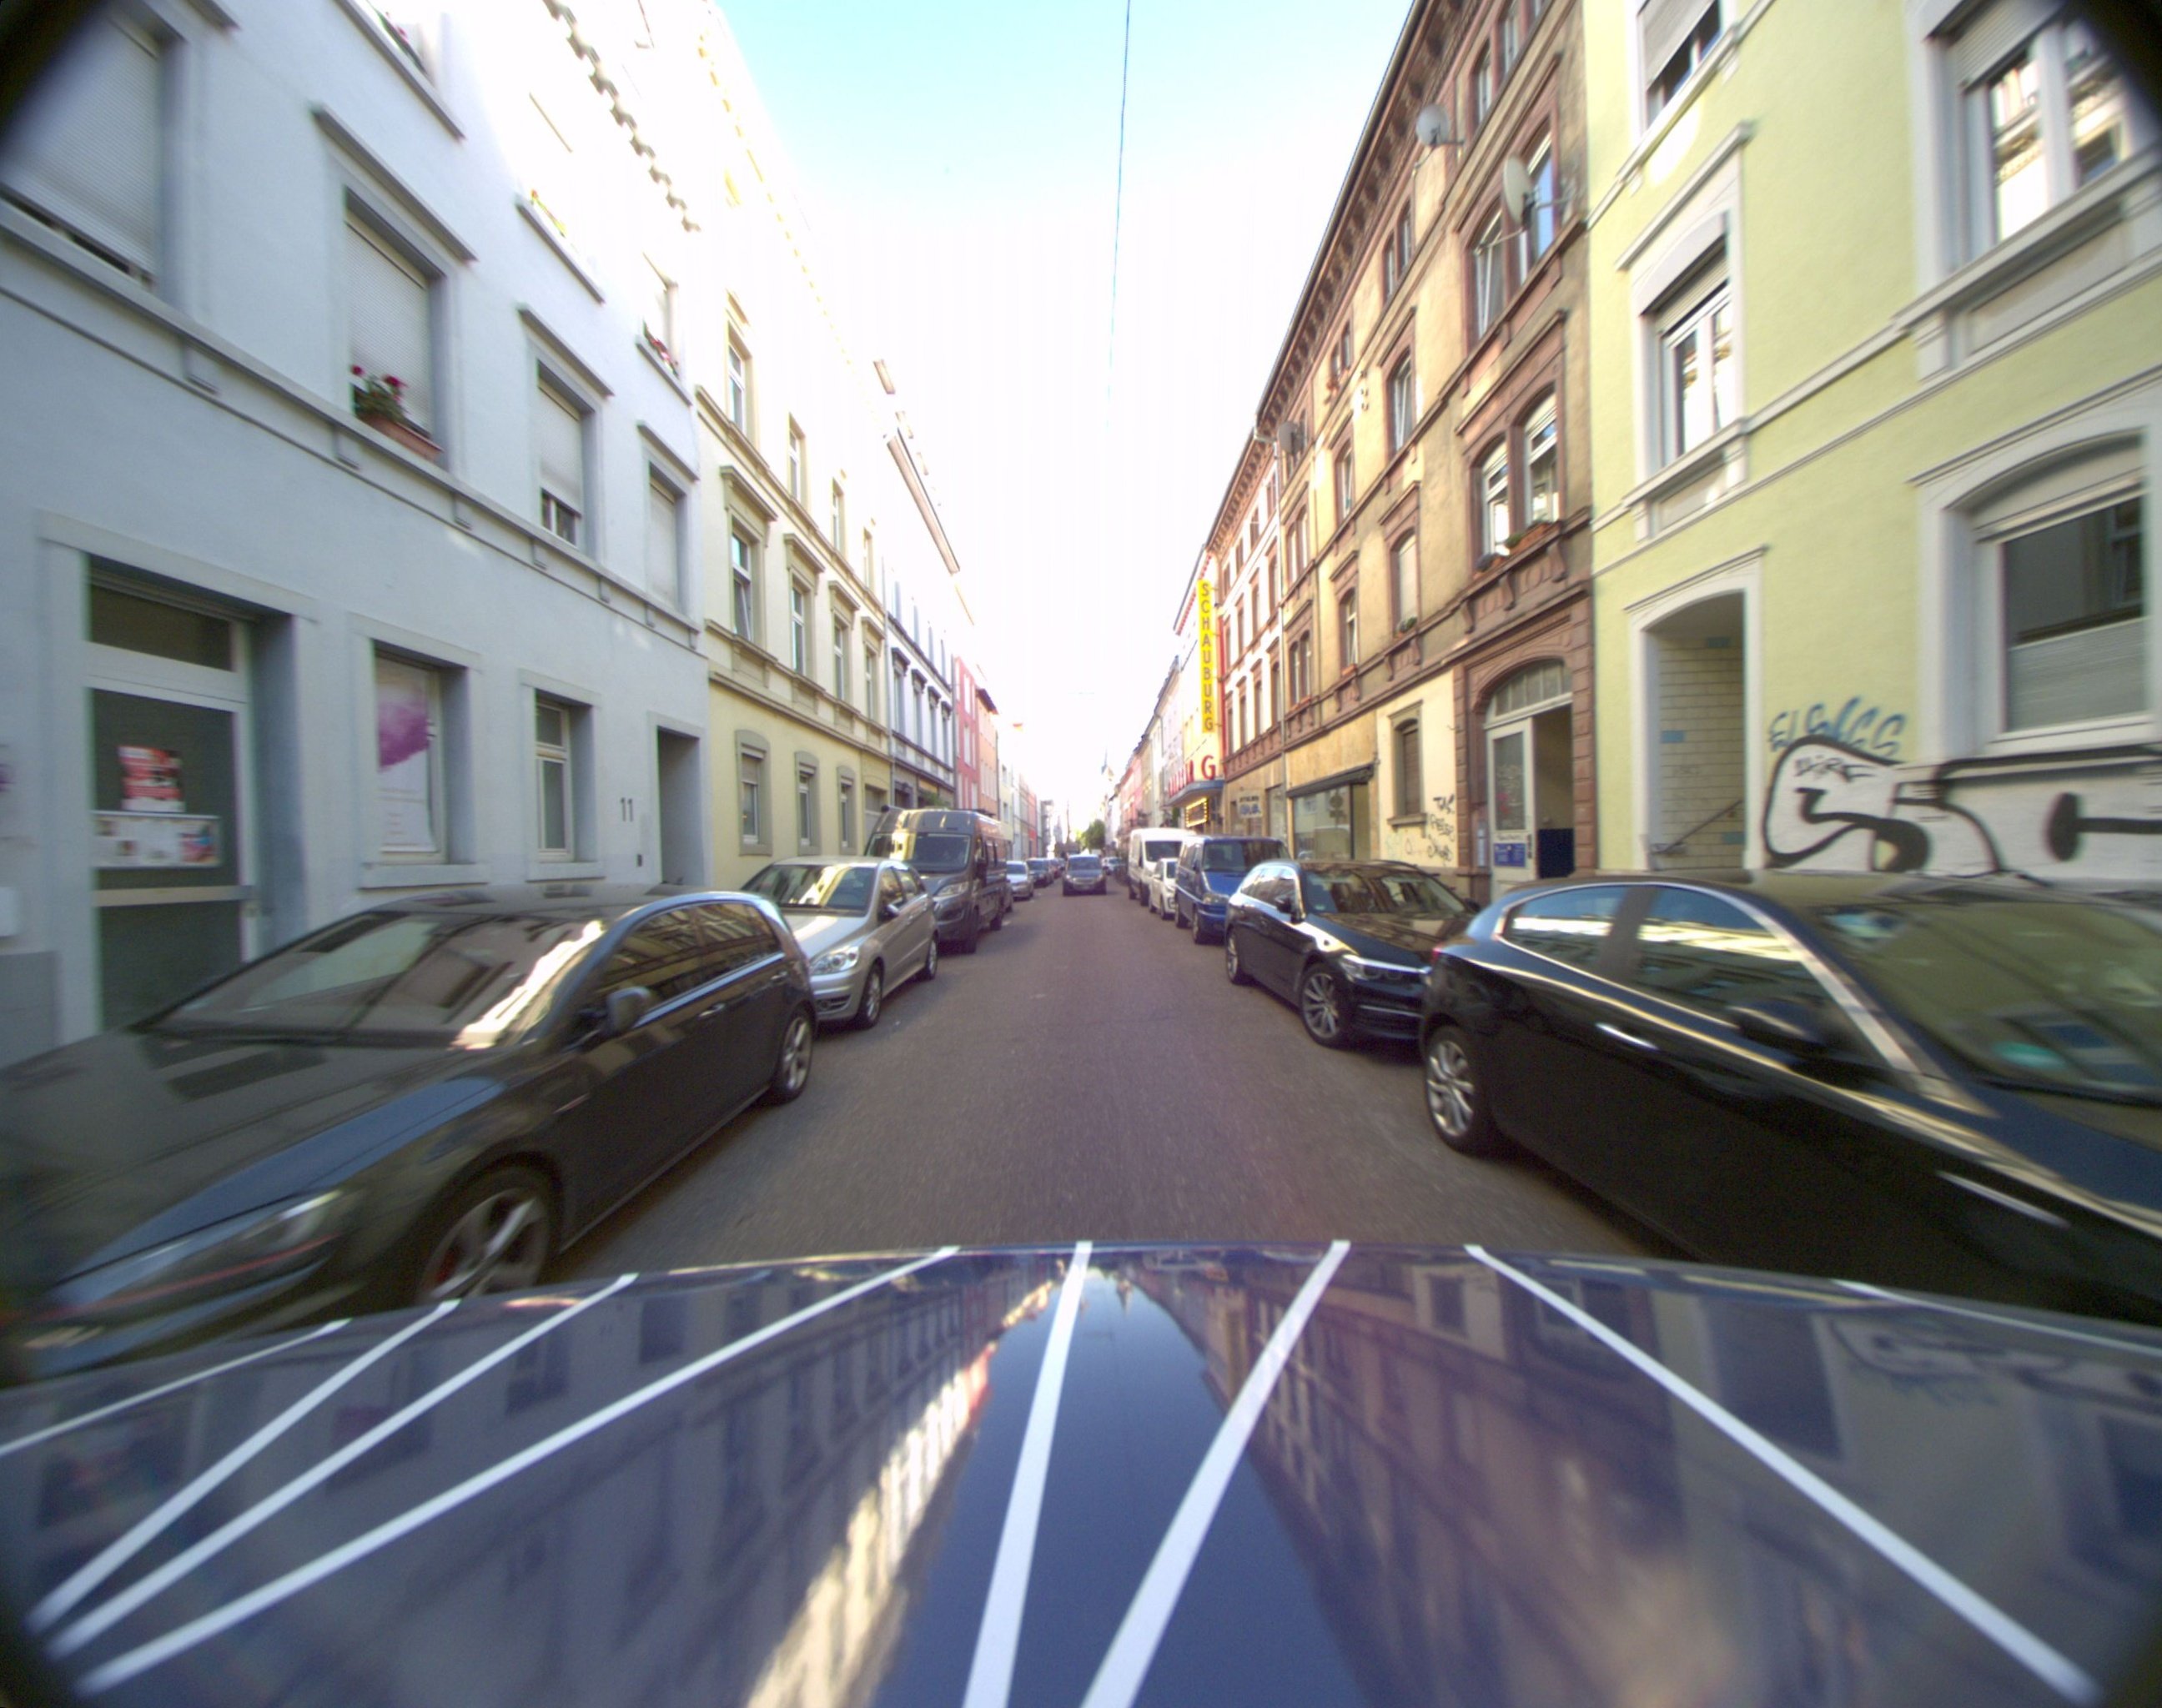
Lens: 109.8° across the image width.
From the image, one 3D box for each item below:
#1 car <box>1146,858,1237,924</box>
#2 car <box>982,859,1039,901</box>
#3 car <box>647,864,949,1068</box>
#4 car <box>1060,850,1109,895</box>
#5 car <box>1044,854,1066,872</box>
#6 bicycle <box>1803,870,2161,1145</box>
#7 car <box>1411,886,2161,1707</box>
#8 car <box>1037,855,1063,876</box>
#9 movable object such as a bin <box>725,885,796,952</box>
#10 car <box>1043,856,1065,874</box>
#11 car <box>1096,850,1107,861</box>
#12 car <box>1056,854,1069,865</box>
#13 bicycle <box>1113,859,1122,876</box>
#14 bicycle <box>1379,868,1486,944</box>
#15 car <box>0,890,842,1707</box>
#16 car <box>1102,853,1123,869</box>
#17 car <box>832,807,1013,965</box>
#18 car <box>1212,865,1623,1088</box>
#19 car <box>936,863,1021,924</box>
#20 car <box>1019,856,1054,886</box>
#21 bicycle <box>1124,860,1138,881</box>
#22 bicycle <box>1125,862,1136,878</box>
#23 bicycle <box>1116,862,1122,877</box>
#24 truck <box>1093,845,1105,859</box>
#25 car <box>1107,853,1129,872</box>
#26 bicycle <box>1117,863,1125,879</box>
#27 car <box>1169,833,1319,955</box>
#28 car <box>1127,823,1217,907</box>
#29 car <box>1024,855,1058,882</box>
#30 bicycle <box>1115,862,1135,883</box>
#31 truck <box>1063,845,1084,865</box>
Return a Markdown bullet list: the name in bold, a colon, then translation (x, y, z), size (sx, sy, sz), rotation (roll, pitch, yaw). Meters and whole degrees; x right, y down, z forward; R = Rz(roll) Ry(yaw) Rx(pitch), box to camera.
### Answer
- **car**: translation (2.676, 0.855, 19.139), size (1.649, 1.438, 3.839), rotation (-1, 0, -1)
- **car**: translation (-2.668, 0.962, 29.652), size (1.791, 1.446, 4.546), rotation (1, 0, 0)
- **car**: translation (-2.695, 0.947, 8.411), size (1.698, 1.598, 4.374), rotation (0, 0, 0)
- **car**: translation (0.161, 0.702, 31.012), size (1.832, 1.650, 4.213), rotation (-1, 0, 1)
- **car**: translation (-2.260, 0.792, 67.296), size (1.794, 1.542, 4.000), rotation (-1, 0, 0)
- **bicycle**: translation (5.549, 0.762, 4.430), size (0.675, 1.264, 2.086), rotation (-2, 0, 0)
- **car**: translation (2.683, 0.906, 2.187), size (1.741, 1.418, 4.000), rotation (-1, 0, 1)
- **car**: translation (-2.311, 0.818, 57.201), size (1.701, 1.514, 3.980), rotation (0, 0, 1)
- **movable object such as a bin**: translation (-5.321, 1.062, 12.660), size (0.865, 1.036, 0.708), rotation (2, 0, -2)
- **car**: translation (-2.195, 0.873, 61.778), size (1.692, 1.444, 4.193), rotation (0, 0, -1)
- **car**: translation (3.846, 0.204, 145.521), size (1.998, 2.002, 4.258), rotation (-1, 0, 1)
- **car**: translation (-2.501, 0.735, 103.770), size (1.644, 1.528, 3.842), rotation (-2, 0, 0)
- **bicycle**: translation (2.454, 0.911, 51.667), size (0.500, 1.099, 1.829), rotation (-3, 0, 0)
- **bicycle**: translation (5.622, 0.793, 12.304), size (0.757, 1.015, 2.029), rotation (-5, 0, 2)
- **car**: translation (-2.670, 1.030, 3.499), size (1.750, 1.477, 4.242), rotation (-1, 0, 0)
- **car**: translation (3.013, 0.669, 73.143), size (1.792, 1.454, 4.199), rotation (-1, 0, -1)
- **car**: translation (-2.695, 0.480, 14.742), size (2.180, 2.411, 6.308), rotation (0, 0, 0)
- **car**: translation (2.681, 0.860, 7.457), size (1.867, 1.431, 4.644), rotation (-1, 0, -2)
- **car**: translation (-2.794, 1.034, 21.498), size (1.752, 1.436, 4.172), rotation (-2, 0, 1)
- **car**: translation (-2.435, 0.911, 41.849), size (1.606, 1.530, 3.450), rotation (1, 0, 1)
- **bicycle**: translation (2.828, 0.921, 43.154), size (0.547, 1.087, 1.881), rotation (-3, 0, -3)
- **bicycle**: translation (3.058, 1.011, 47.133), size (0.555, 0.938, 1.571), rotation (-1, 0, 1)
- **bicycle**: translation (2.511, 1.017, 50.033), size (0.322, 0.911, 1.290), rotation (-1, 0, 1)
- **truck**: translation (4.059, -0.472, 174.161), size (2.524, 3.271, 6.642), rotation (-2, 0, 1)
- **car**: translation (3.098, 0.683, 62.635), size (1.684, 1.446, 4.034), rotation (0, 0, 4)
- **bicycle**: translation (2.446, 1.052, 46.788), size (0.391, 0.911, 1.393), rotation (-1, 0, 1)
- **car**: translation (2.832, 0.623, 14.263), size (1.832, 1.881, 4.613), rotation (1, 0, 1)
- **car**: translation (2.811, 0.315, 25.037), size (2.174, 2.438, 5.920), rotation (0, 0, -1)
- **car**: translation (-2.429, 0.860, 46.744), size (1.750, 1.547, 4.171), rotation (-2, 0, 1)
- **bicycle**: translation (2.281, 0.975, 39.627), size (0.462, 1.041, 1.748), rotation (-3, 0, -15)
- **truck**: translation (-1.024, 0.092, 111.992), size (2.819, 2.735, 7.677), rotation (-3, 0, 0)
